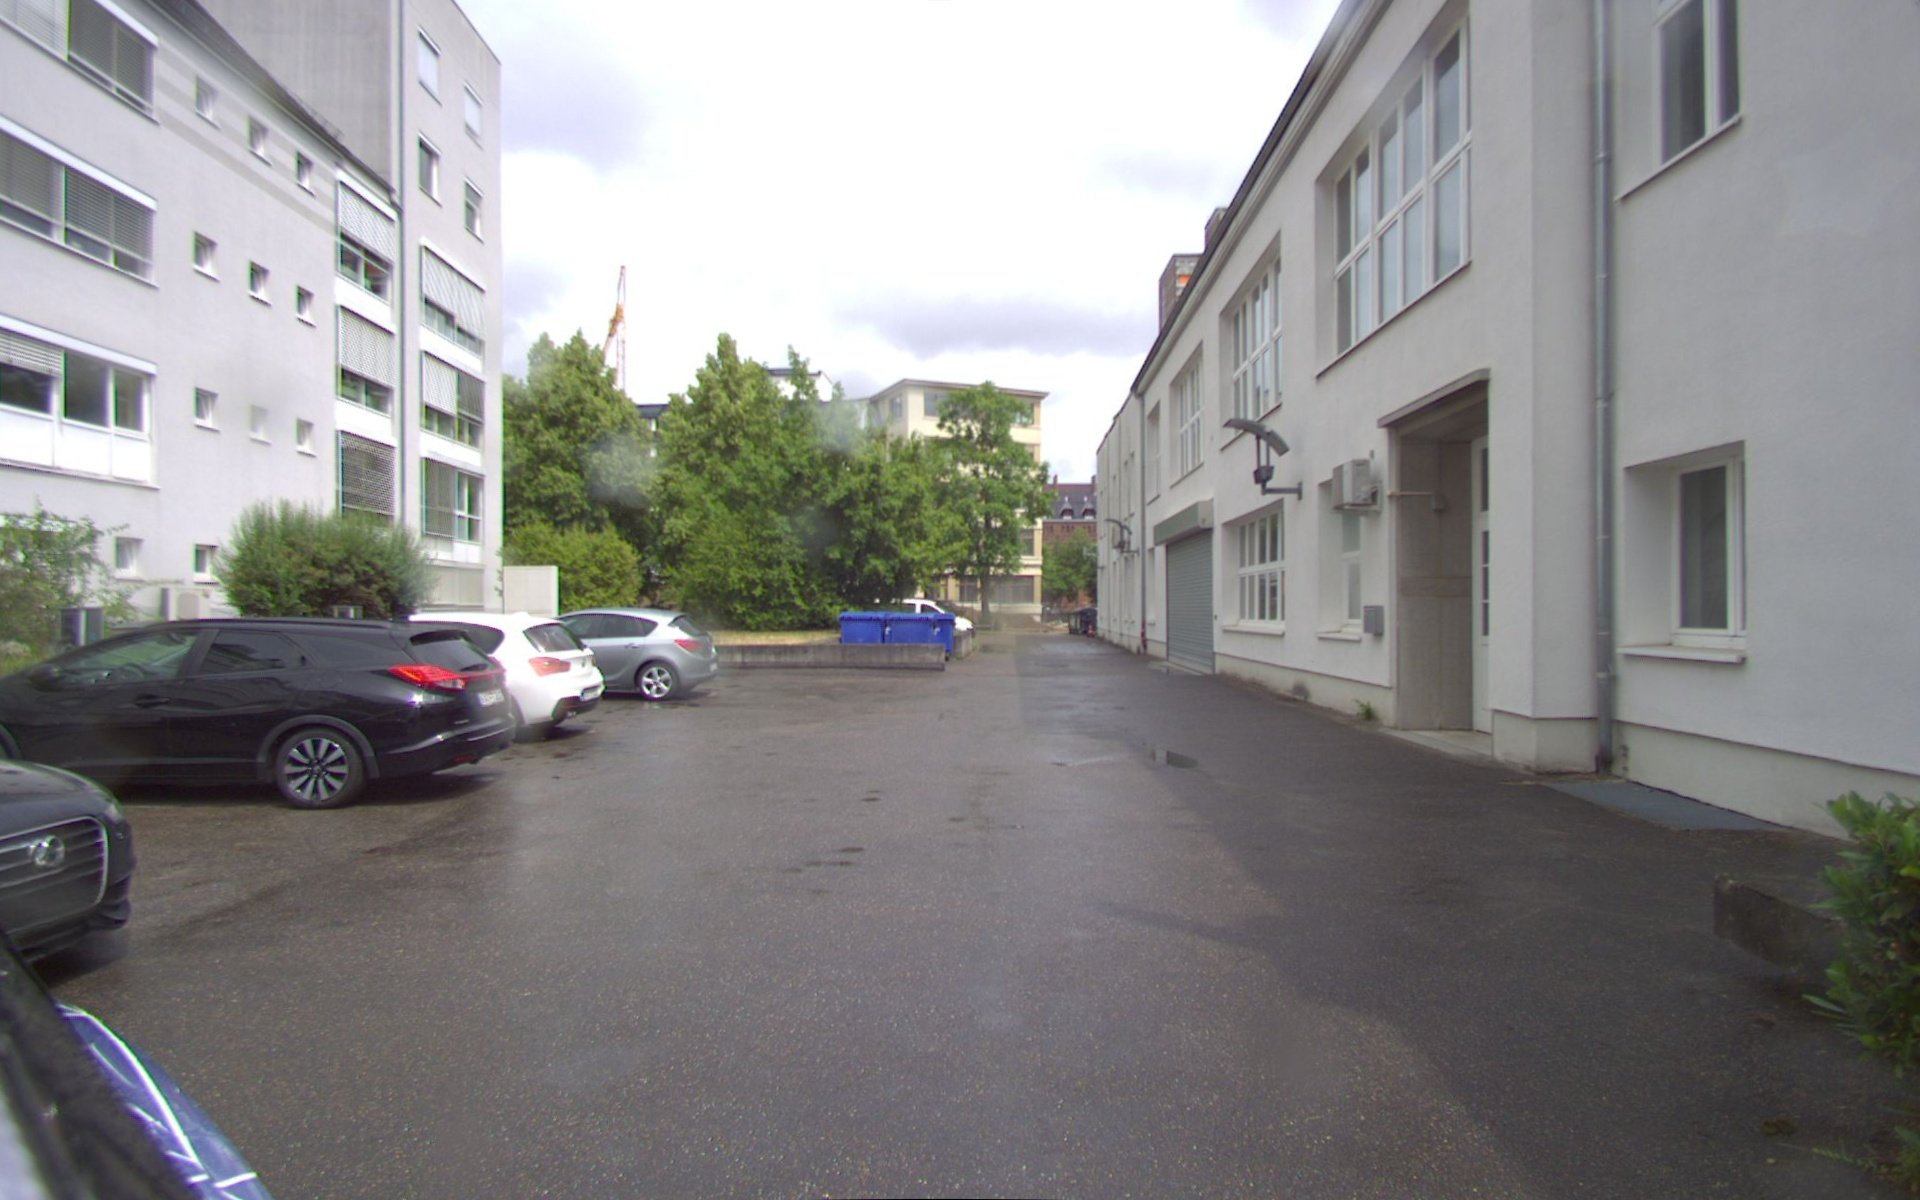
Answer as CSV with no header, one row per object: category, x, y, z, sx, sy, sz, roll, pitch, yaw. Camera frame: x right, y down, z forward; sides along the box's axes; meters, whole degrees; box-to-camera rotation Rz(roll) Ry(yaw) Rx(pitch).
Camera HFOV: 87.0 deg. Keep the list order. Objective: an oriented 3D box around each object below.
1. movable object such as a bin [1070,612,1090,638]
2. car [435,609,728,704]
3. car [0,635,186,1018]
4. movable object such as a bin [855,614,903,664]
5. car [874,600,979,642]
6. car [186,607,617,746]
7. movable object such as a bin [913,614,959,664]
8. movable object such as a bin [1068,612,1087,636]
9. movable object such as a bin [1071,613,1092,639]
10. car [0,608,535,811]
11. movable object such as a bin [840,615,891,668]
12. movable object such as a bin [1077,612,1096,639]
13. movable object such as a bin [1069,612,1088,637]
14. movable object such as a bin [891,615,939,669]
movable object such as a bin,6.580,1.366,55.382,1.050,1.366,1.216,-1,0,6
car,-6.163,0.899,16.874,4.252,1.453,1.764,1,0,-3
car,-5.746,0.825,3.679,4.463,1.362,1.764,1,0,-2
movable object such as a bin,-2.246,1.066,28.273,1.117,1.338,1.206,-1,0,6
car,-1.432,0.896,43.643,4.284,1.740,1.718,-1,0,8
car,-6.305,0.834,11.768,4.065,1.453,1.697,1,0,-2
movable object such as a bin,-0.662,1.072,28.260,1.117,1.338,1.206,-1,0,6
movable object such as a bin,6.740,1.365,58.329,1.053,1.366,1.262,-1,0,6
movable object such as a bin,6.480,1.367,54.009,1.033,1.366,1.205,-1,0,6
car,-5.983,0.826,8.315,4.251,1.453,1.764,1,0,-3
movable object such as a bin,-2.468,1.068,26.582,1.117,1.338,1.206,-1,0,6
movable object such as a bin,6.532,1.295,52.277,0.967,1.366,0.917,-1,0,6
movable object such as a bin,6.661,1.366,56.959,1.053,1.366,1.262,-1,0,6
movable object such as a bin,-1.156,1.082,26.514,1.082,1.335,1.206,-1,0,6
